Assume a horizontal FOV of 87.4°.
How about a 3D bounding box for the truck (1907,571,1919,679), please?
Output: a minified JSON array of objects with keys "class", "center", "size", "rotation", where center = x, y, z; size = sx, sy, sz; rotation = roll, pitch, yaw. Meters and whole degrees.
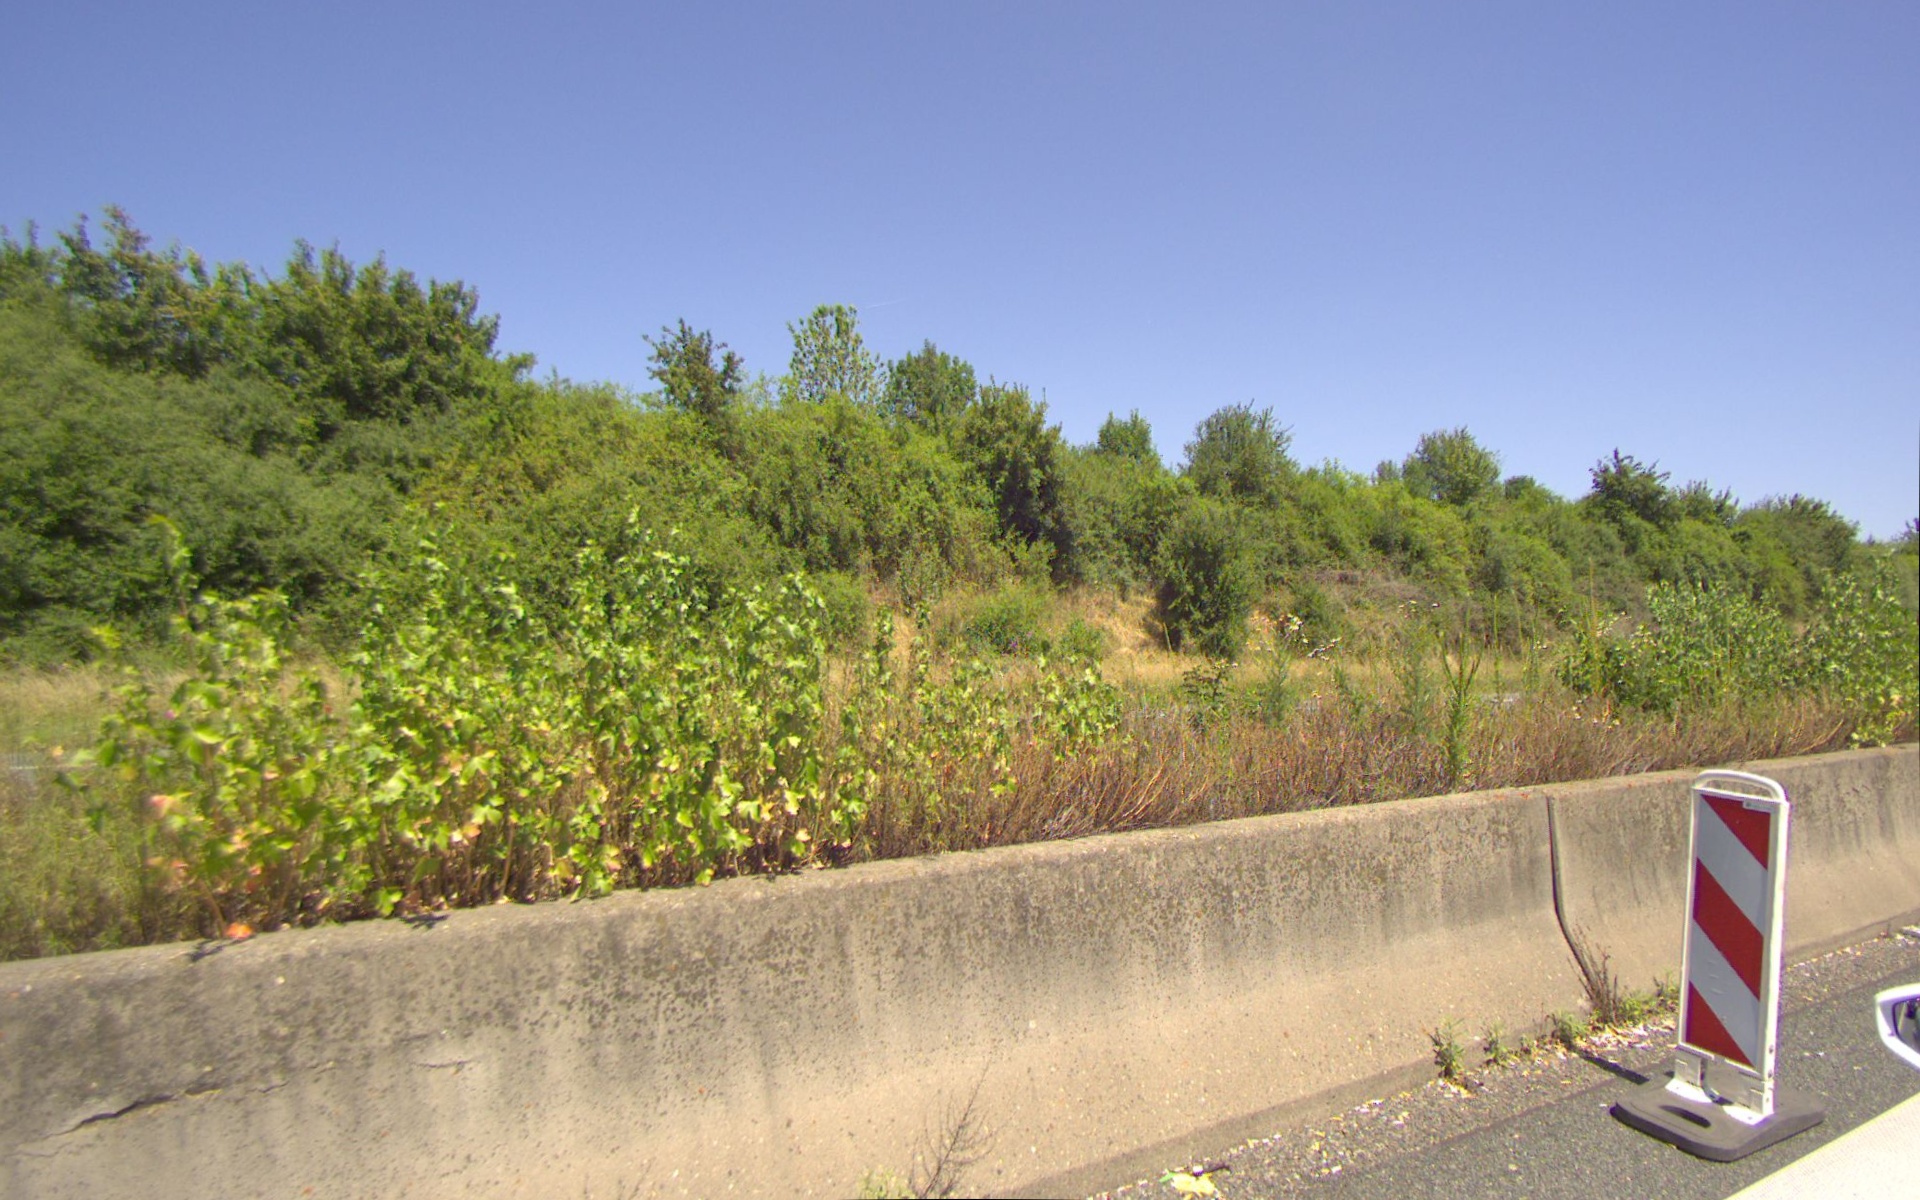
[{"class":"truck","center":[41.063,0.975,40.121],"size":[6.333,4.220,2.740],"rotation":[1,-4,-29]}]
